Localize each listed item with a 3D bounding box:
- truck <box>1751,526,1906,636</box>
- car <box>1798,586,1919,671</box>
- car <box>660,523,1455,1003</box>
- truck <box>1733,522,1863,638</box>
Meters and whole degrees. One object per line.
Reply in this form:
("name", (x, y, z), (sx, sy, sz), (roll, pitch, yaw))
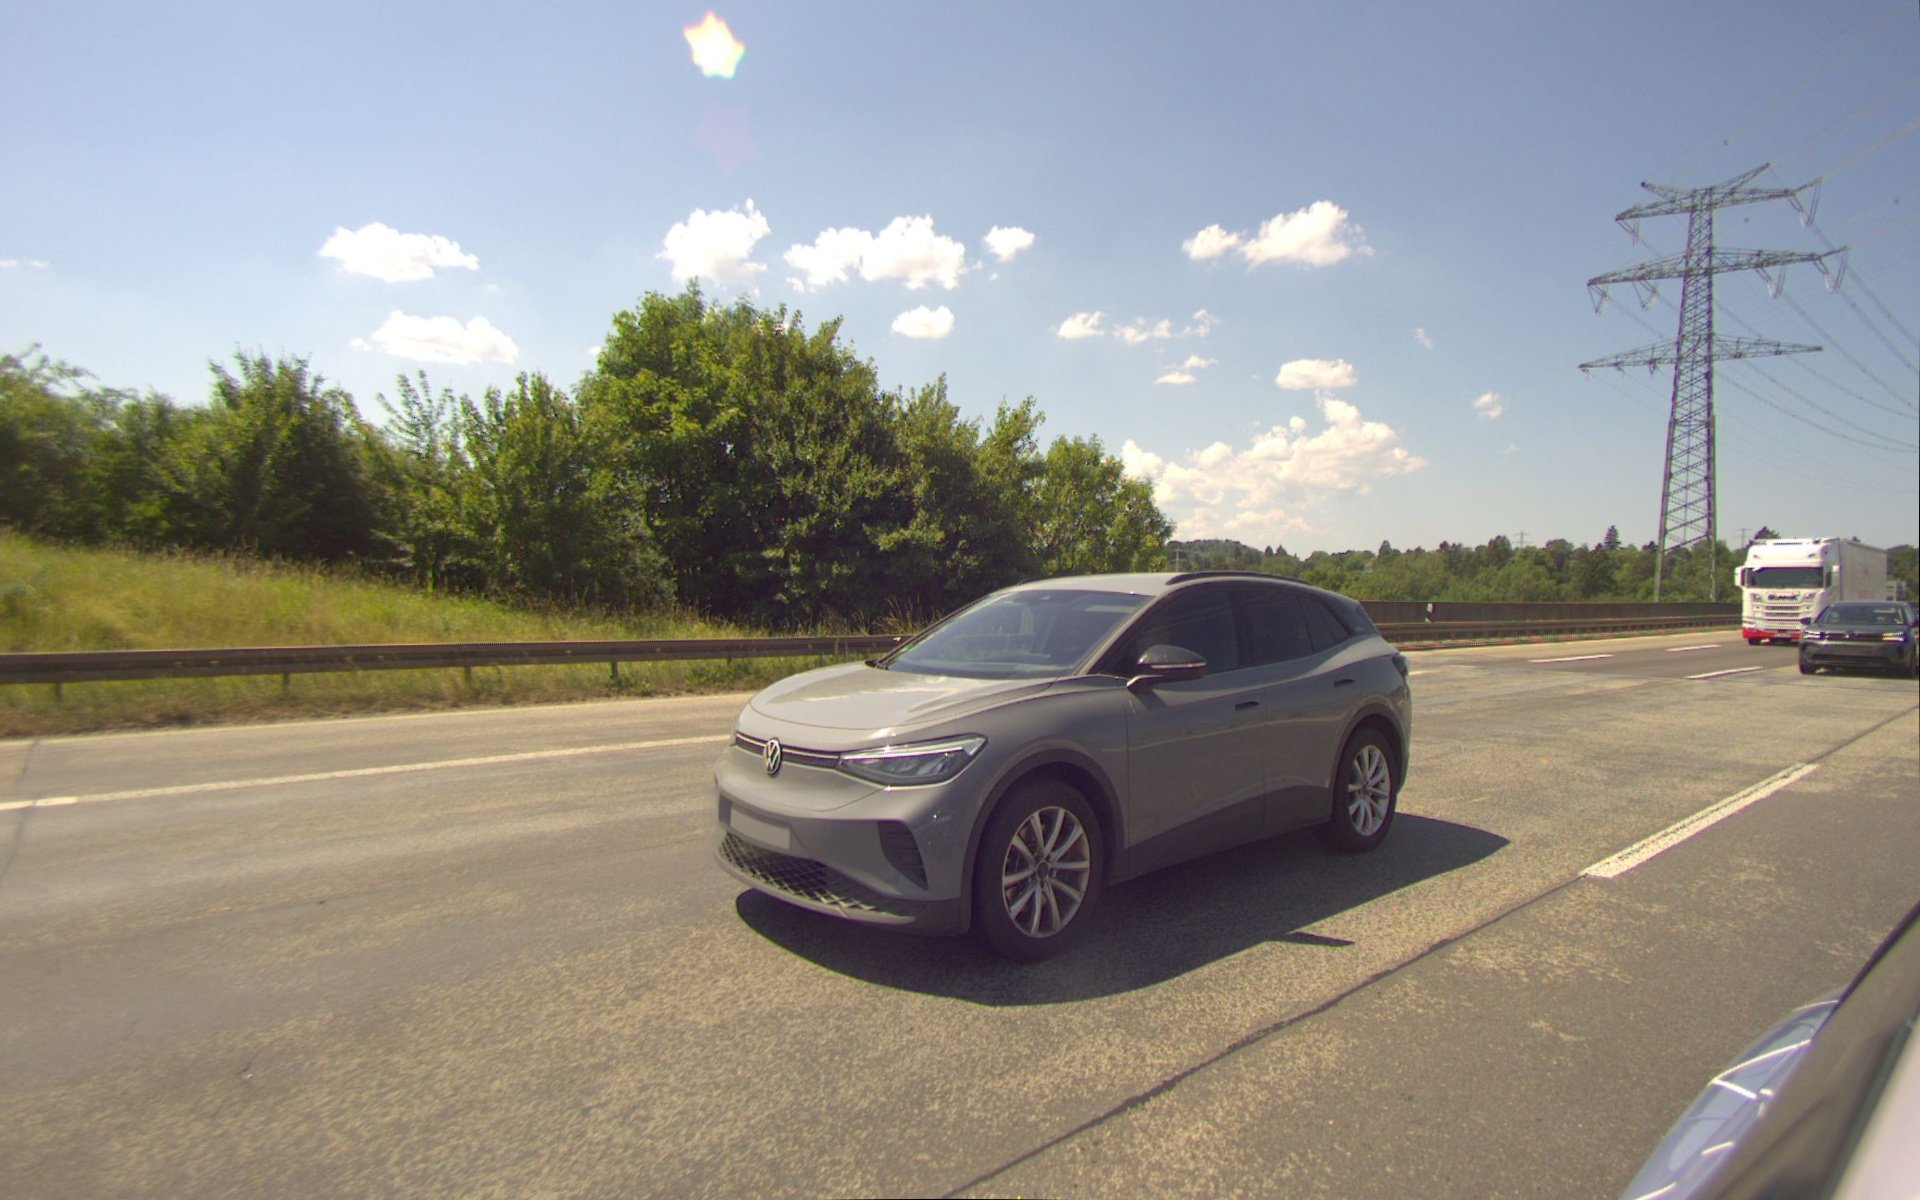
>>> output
("truck", (35.753, -0.643, 41.401), (12.284, 3.957, 3.074), (0, 0, -41))
("car", (19.672, 0.560, 21.729), (3.976, 1.667, 1.954), (0, -1, -41))
("car", (0.846, 0.567, 5.691), (4.505, 1.657, 1.871), (0, 0, -41))
("truck", (30.525, -0.682, 36.853), (3.779, 3.957, 3.074), (1, -1, -41))
